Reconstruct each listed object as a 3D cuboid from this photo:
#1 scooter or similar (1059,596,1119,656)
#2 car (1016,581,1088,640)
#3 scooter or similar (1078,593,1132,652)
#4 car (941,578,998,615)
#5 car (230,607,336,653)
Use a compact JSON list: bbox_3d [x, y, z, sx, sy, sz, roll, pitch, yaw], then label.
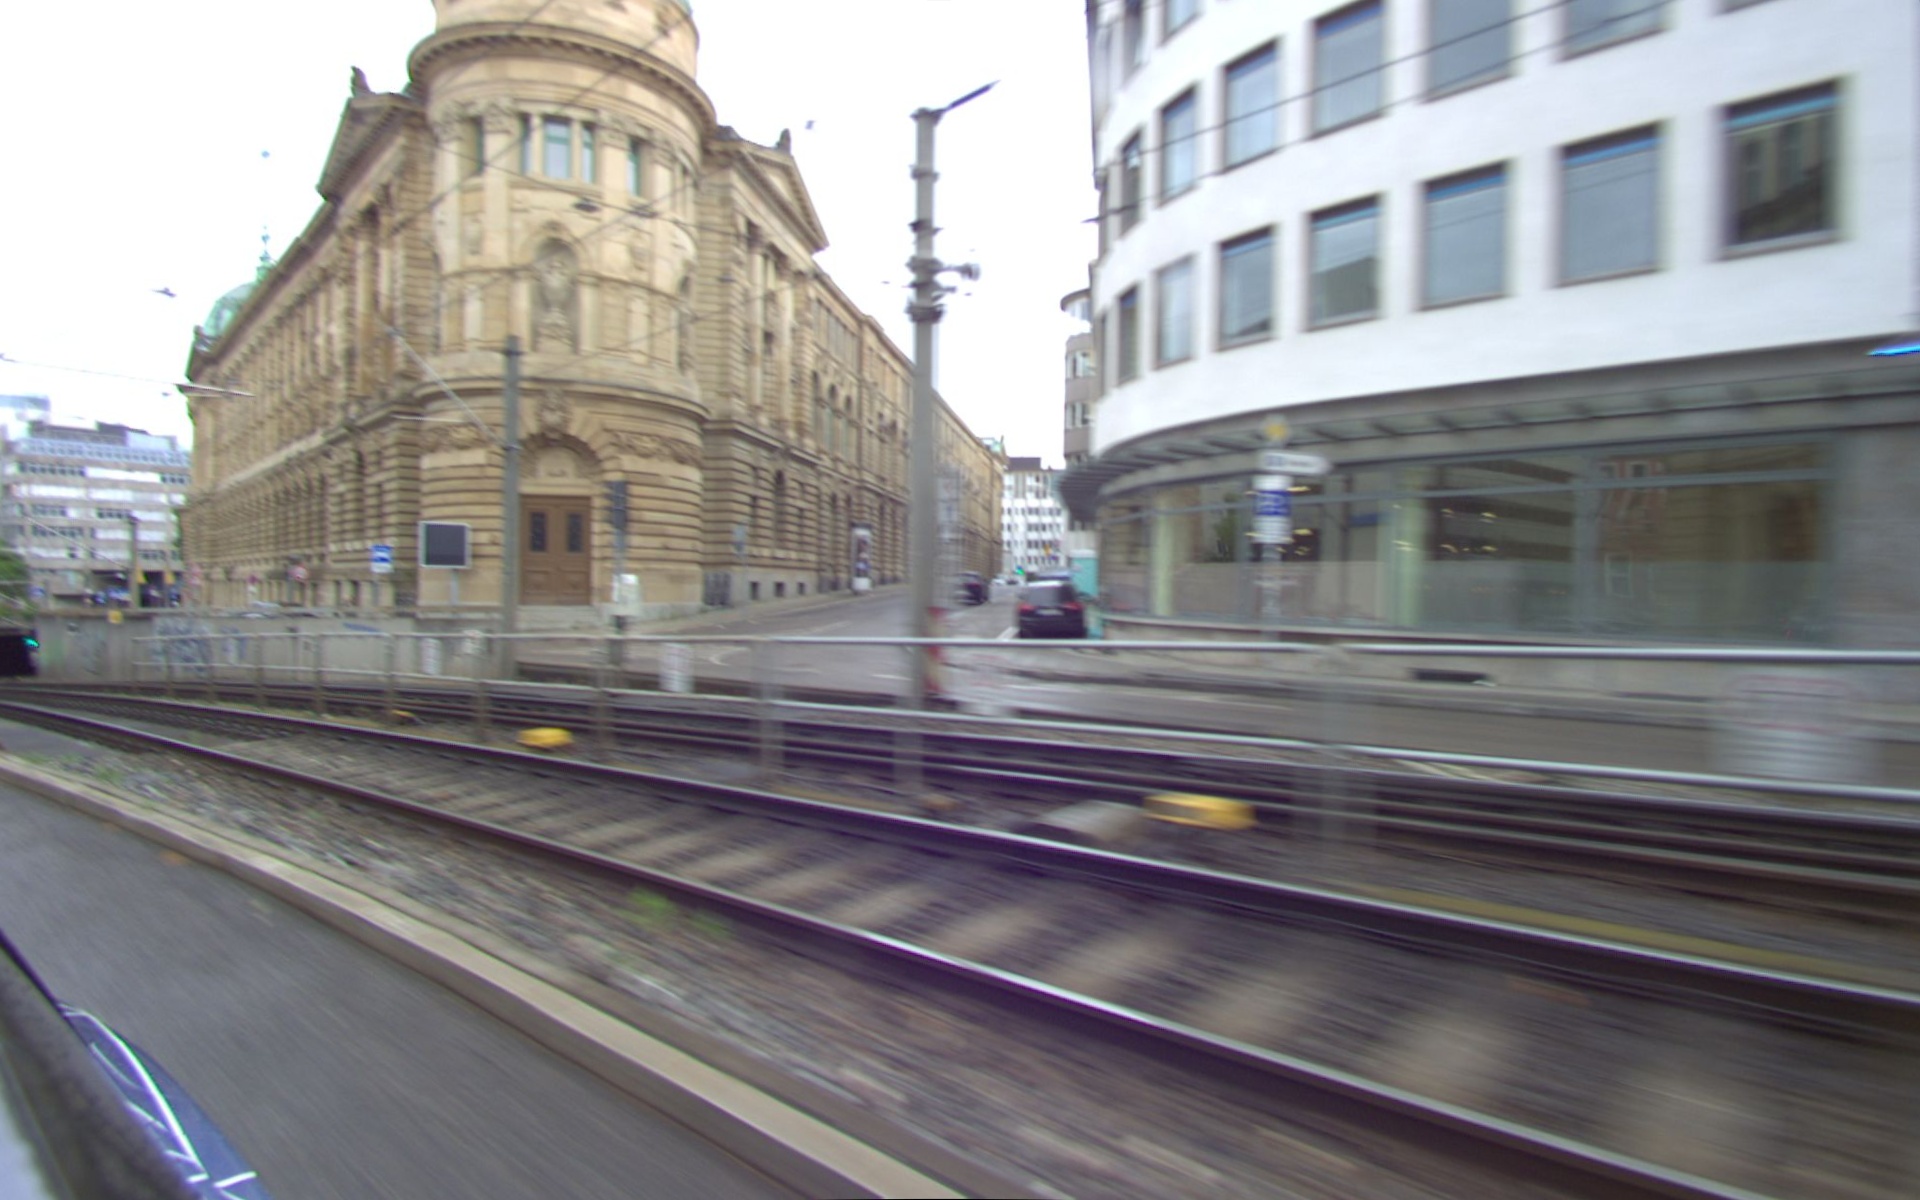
[{"bbox_3d":[2.767,0.535,21.833,0.404,1.209,1.565,-2,2,-30],"label":"scooter or similar"},{"bbox_3d":[2.421,0.216,27.156,1.762,1.408,4.322,-1,1,4],"label":"car"},{"bbox_3d":[3.161,0.471,22.152,0.404,1.209,1.565,-2,2,-24],"label":"scooter or similar"},{"bbox_3d":[0.524,-0.188,49.105,1.980,1.652,3.985,-1,2,12],"label":"car"},{"bbox_3d":[-23.073,0.973,34.446,3.997,1.397,1.973,0,2,41],"label":"car"}]
